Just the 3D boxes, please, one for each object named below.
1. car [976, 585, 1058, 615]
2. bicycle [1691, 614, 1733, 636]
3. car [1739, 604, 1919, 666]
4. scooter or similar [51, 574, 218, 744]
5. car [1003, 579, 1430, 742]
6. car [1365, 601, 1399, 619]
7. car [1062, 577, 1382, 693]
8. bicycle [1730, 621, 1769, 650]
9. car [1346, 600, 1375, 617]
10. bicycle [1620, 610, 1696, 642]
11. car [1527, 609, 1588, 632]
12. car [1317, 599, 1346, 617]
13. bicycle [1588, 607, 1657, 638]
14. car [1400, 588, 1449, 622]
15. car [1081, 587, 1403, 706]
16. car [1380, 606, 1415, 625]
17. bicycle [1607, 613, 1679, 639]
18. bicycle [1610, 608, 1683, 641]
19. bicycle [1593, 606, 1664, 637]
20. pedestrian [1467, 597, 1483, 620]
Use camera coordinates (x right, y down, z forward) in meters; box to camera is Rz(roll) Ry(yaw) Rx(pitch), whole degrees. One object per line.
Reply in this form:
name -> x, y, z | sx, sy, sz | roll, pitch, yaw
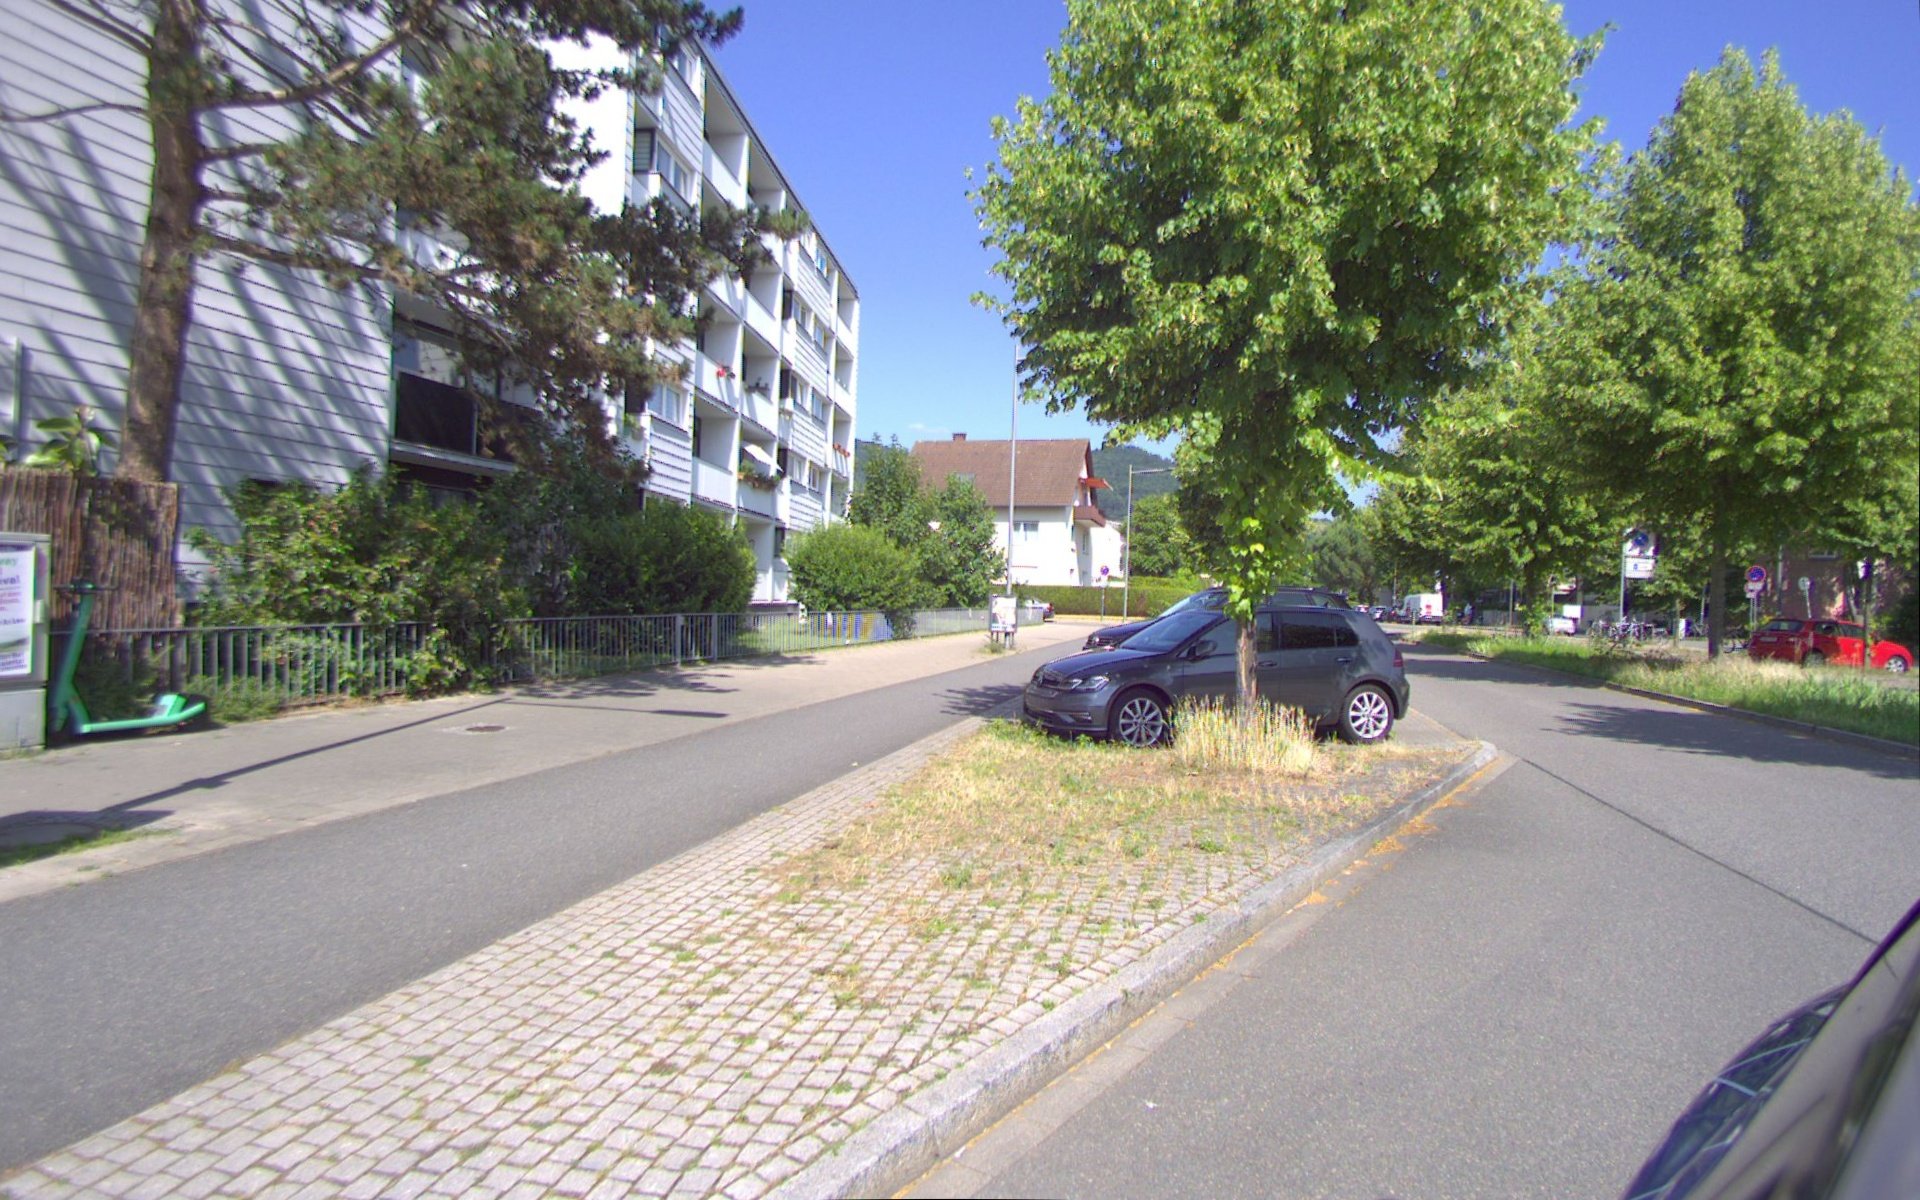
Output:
car -> 3.077, 0.003, 54.631 | 4.072, 1.416, 1.800 | 2, -2, 17
bicycle -> 39.354, 1.295, 52.955 | 0.370, 1.094, 1.717 | 2, -1, -33
car -> 24.098, 0.948, 27.770 | 3.920, 1.485, 2.002 | 3, 0, -5
scooter or similar -> -6.109, 0.410, 7.529 | 0.229, 1.181, 0.950 | 1, 0, 23
car -> 2.698, 0.603, 11.069 | 4.031, 1.549, 2.004 | 1, 0, -14
car -> 39.061, 0.922, 93.843 | 1.697, 1.578, 4.661 | 3, 0, 8
car -> 4.154, 0.550, 16.215 | 4.646, 1.681, 1.756 | 1, 0, -14
bicycle -> 28.047, 1.252, 35.978 | 0.514, 0.914, 1.267 | 3, 1, 11
car -> 39.572, 0.854, 100.007 | 1.697, 1.578, 3.991 | 3, 0, 8
bicycle -> 29.459, 1.081, 42.757 | 2.515, 1.272, 0.736 | 2, 0, 14
car -> 36.126, 1.205, 61.294 | 1.697, 1.283, 3.991 | 3, 0, 8
car -> 40.766, 0.892, 111.136 | 1.815, 1.786, 4.577 | 3, 0, 6
bicycle -> 30.777, 1.041, 47.034 | 2.515, 1.272, 0.736 | 3, 0, 14
car -> 38.068, 0.420, 83.105 | 2.061, 2.528, 5.937 | 3, 0, 9
car -> 3.847, 0.614, 14.036 | 3.916, 1.492, 1.773 | 1, 0, -13
car -> 38.423, 1.330, 88.929 | 1.697, 1.578, 3.991 | 3, 0, 8
bicycle -> 30.211, 1.135, 44.809 | 2.515, 1.000, 0.736 | 3, 0, 14
bicycle -> 29.709, 1.058, 43.834 | 2.486, 1.272, 0.736 | 3, 0, 14
bicycle -> 30.481, 0.982, 46.179 | 2.515, 1.255, 0.736 | 3, 0, 14
pedestrian -> 41.405, 0.668, 81.326 | 0.962, 1.802, 0.722 | 2, 0, 12
